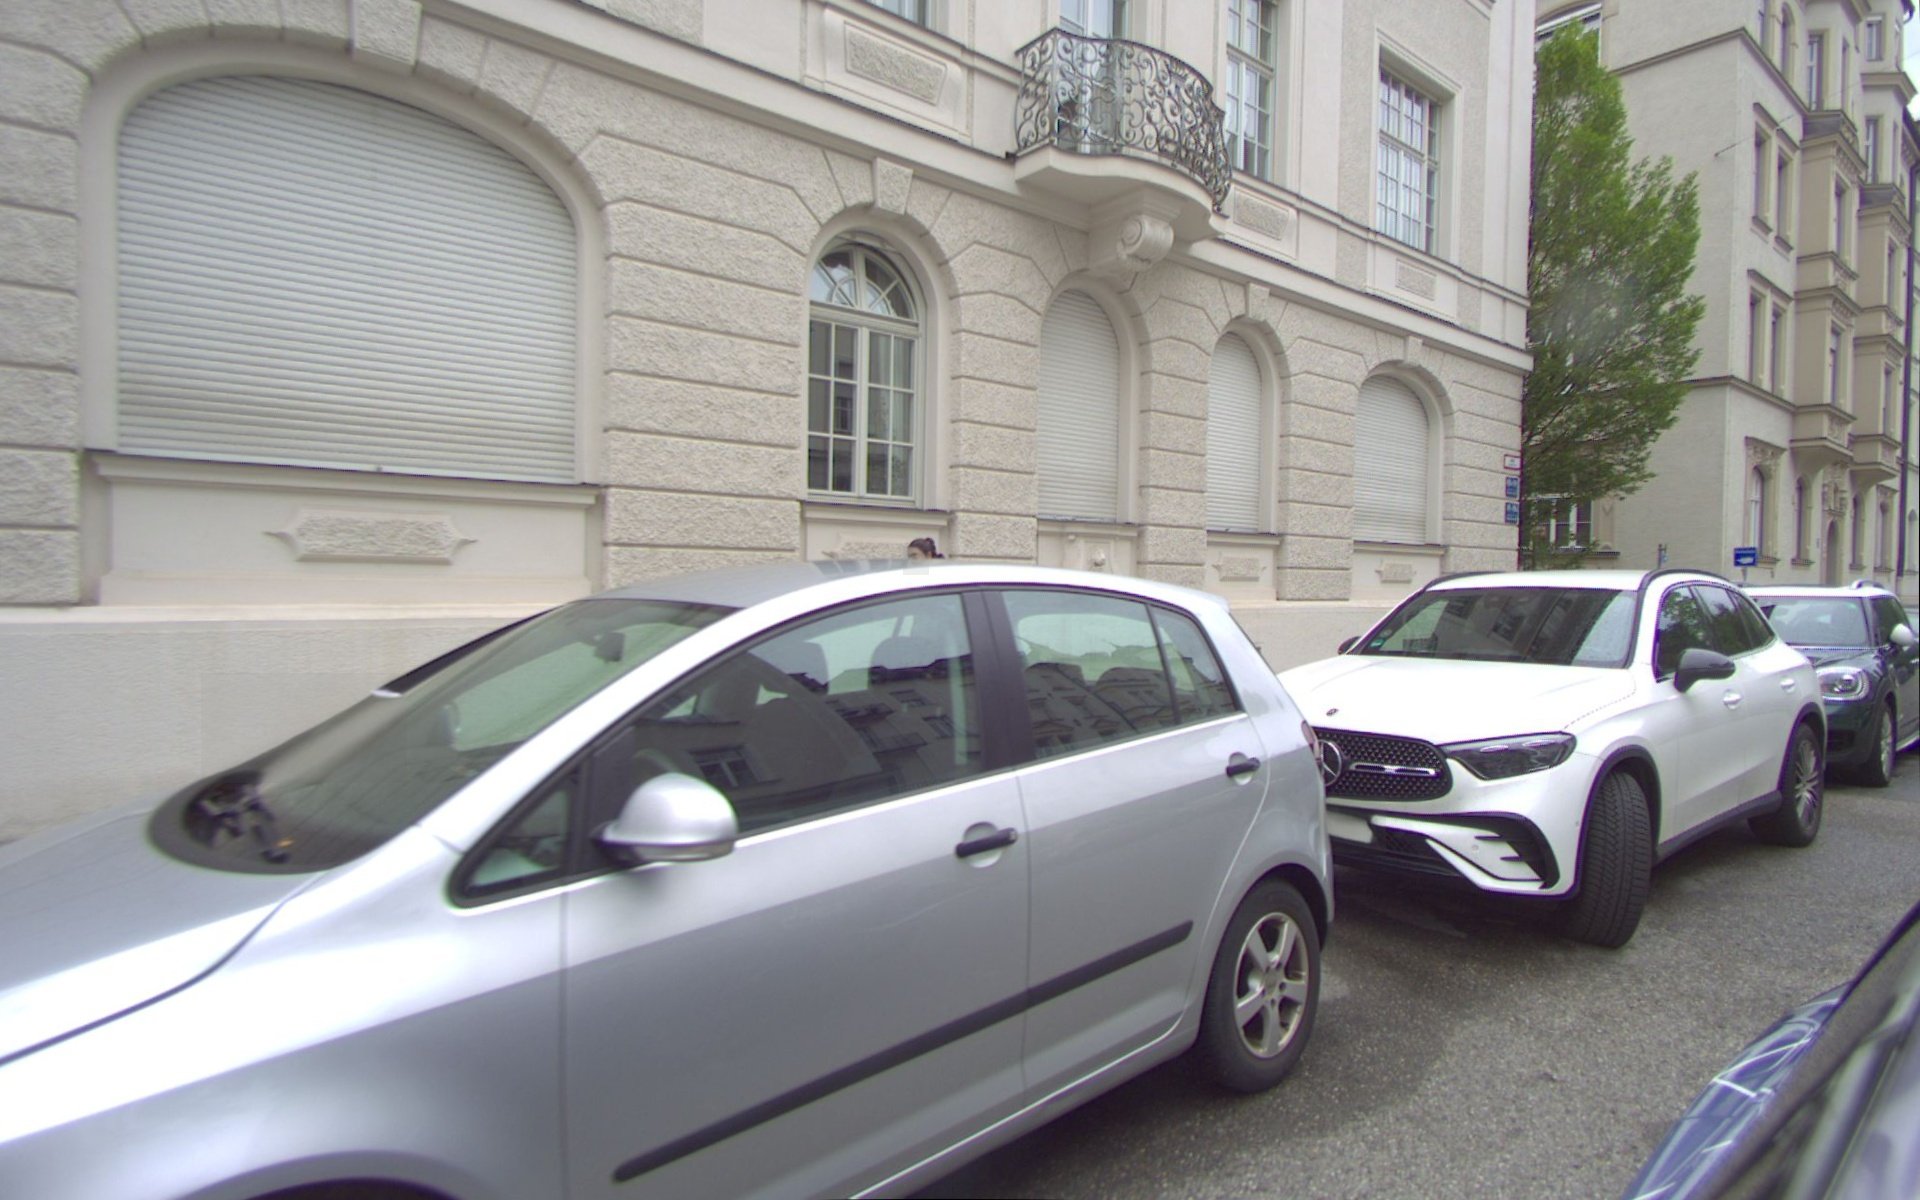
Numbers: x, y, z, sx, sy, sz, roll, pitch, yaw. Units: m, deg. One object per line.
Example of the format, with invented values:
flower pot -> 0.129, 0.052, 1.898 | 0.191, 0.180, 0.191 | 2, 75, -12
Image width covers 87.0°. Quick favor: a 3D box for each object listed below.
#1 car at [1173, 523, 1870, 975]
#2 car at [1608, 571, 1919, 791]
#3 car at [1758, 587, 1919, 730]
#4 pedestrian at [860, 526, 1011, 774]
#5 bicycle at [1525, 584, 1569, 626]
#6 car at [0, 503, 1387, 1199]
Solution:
car -> 3.397, 0.544, 5.781 | 4.310, 1.657, 1.901 | 1, 1, -38
car -> 7.616, 0.552, 9.121 | 4.094, 1.544, 1.753 | 0, 1, -38
car -> 11.287, 0.622, 12.220 | 4.148, 1.470, 1.715 | 1, 1, -39
pedestrian -> -0.184, 0.328, 7.460 | 0.797, 1.699, 0.684 | 1, 3, -39
bicycle -> 13.454, 0.112, 23.185 | 1.109, 0.919, 0.453 | -1, 3, -37
car -> -0.617, 0.623, 2.716 | 3.931, 1.520, 1.711 | 0, 1, -41
